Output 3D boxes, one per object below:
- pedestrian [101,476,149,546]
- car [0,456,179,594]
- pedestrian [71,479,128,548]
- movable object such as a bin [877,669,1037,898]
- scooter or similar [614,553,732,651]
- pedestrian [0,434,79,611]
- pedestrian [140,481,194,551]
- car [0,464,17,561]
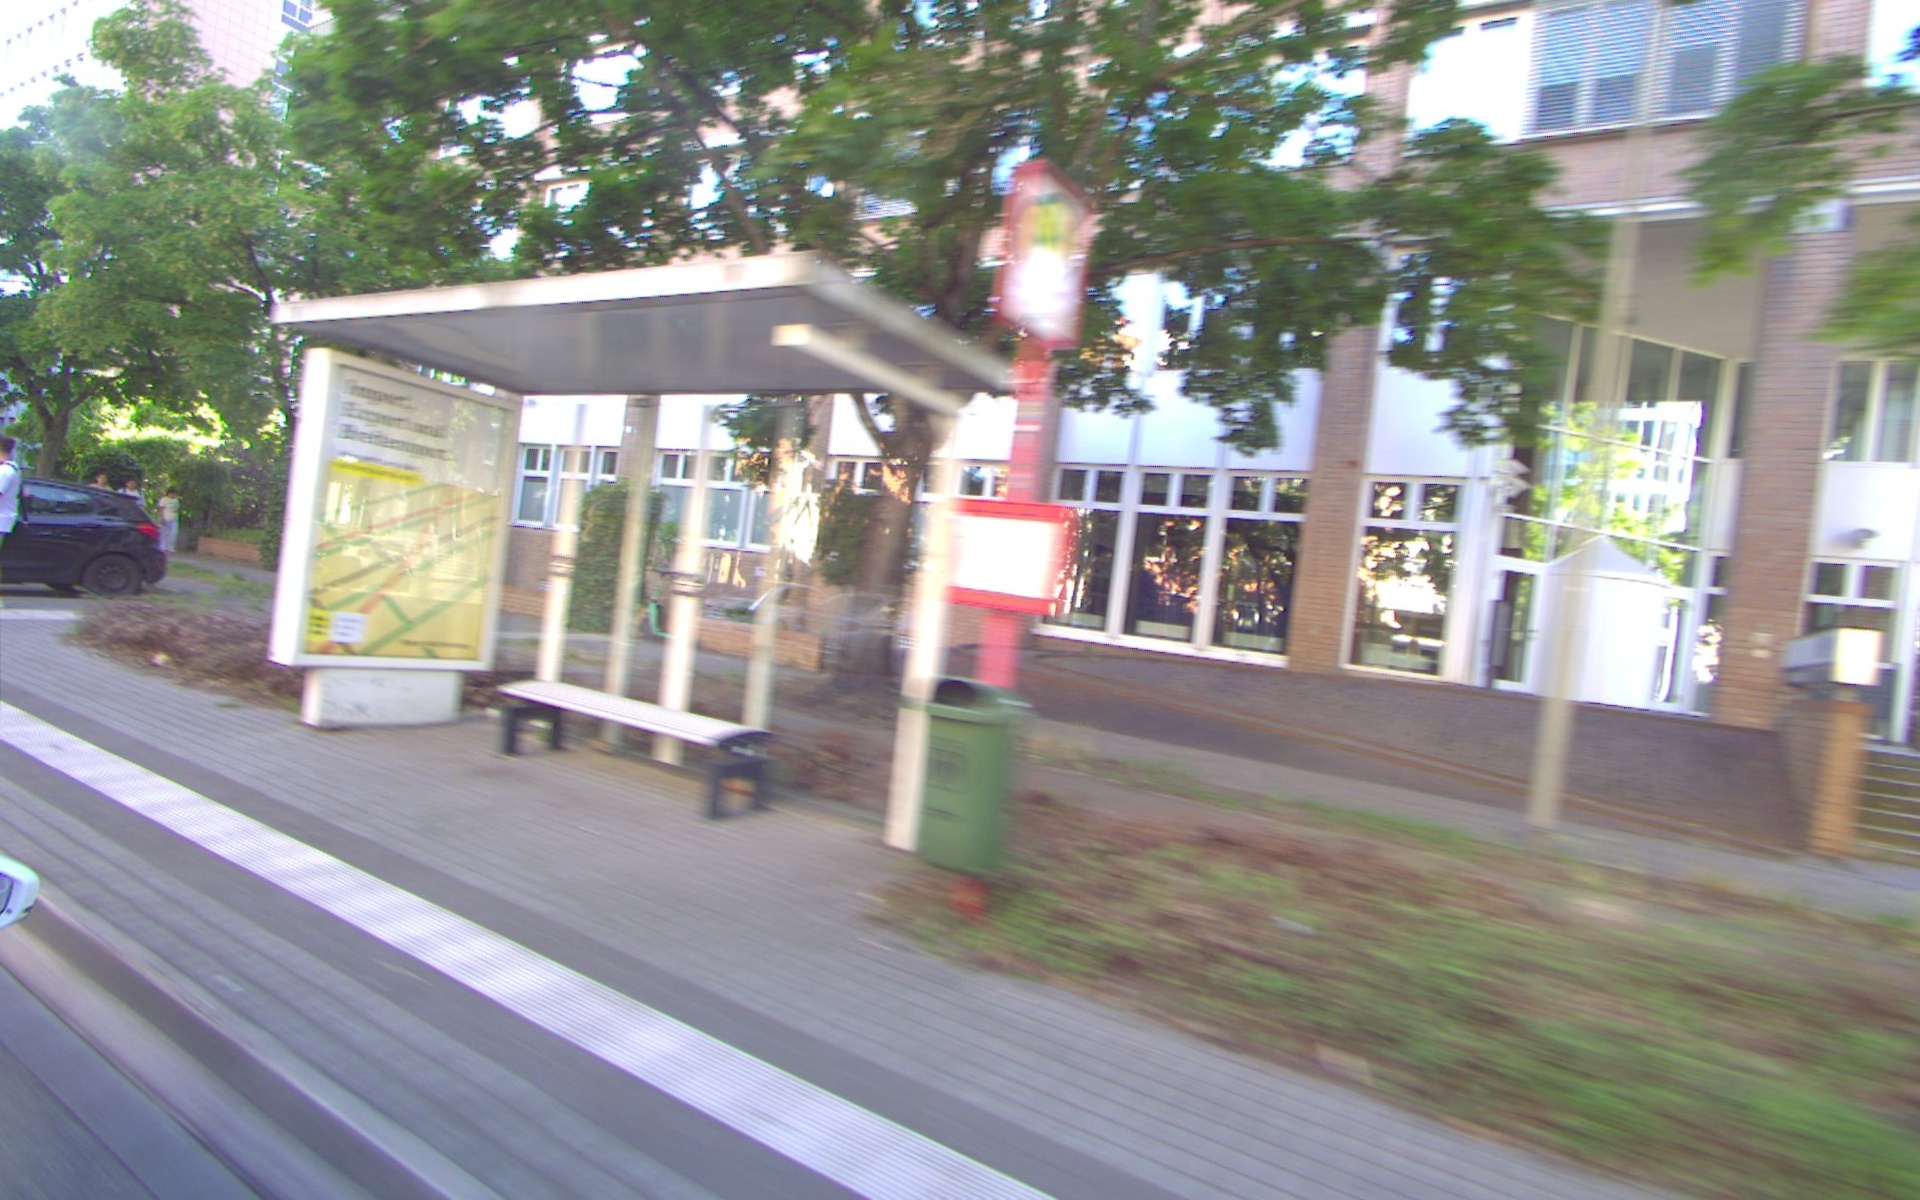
[{"bbox_3d":[-19.852,-2.111,23.932,0.584,1.540,0.603,8,1,30],"label":"pedestrian"},{"bbox_3d":[-11.919,-1.037,11.781,1.744,1.457,3.942,7,0,29],"label":"car"},{"bbox_3d":[-19.930,-1.997,23.311,0.703,1.476,0.701,8,1,29],"label":"pedestrian"},{"bbox_3d":[-0.012,0.679,3.861,0.459,0.763,0.298,7,3,32],"label":"movable object such as a bin"},{"bbox_3d":[-4.634,0.020,16.195,1.774,1.341,0.550,7,-1,27],"label":"scooter or similar"},{"bbox_3d":[-9.664,-0.793,10.121,0.685,1.734,0.919,7,4,18],"label":"pedestrian"},{"bbox_3d":[-19.418,-2.044,24.639,0.549,1.572,0.757,8,1,29],"label":"pedestrian"},{"bbox_3d":[-17.901,-1.714,15.554,1.905,1.617,4.363,7,0,25],"label":"car"}]
